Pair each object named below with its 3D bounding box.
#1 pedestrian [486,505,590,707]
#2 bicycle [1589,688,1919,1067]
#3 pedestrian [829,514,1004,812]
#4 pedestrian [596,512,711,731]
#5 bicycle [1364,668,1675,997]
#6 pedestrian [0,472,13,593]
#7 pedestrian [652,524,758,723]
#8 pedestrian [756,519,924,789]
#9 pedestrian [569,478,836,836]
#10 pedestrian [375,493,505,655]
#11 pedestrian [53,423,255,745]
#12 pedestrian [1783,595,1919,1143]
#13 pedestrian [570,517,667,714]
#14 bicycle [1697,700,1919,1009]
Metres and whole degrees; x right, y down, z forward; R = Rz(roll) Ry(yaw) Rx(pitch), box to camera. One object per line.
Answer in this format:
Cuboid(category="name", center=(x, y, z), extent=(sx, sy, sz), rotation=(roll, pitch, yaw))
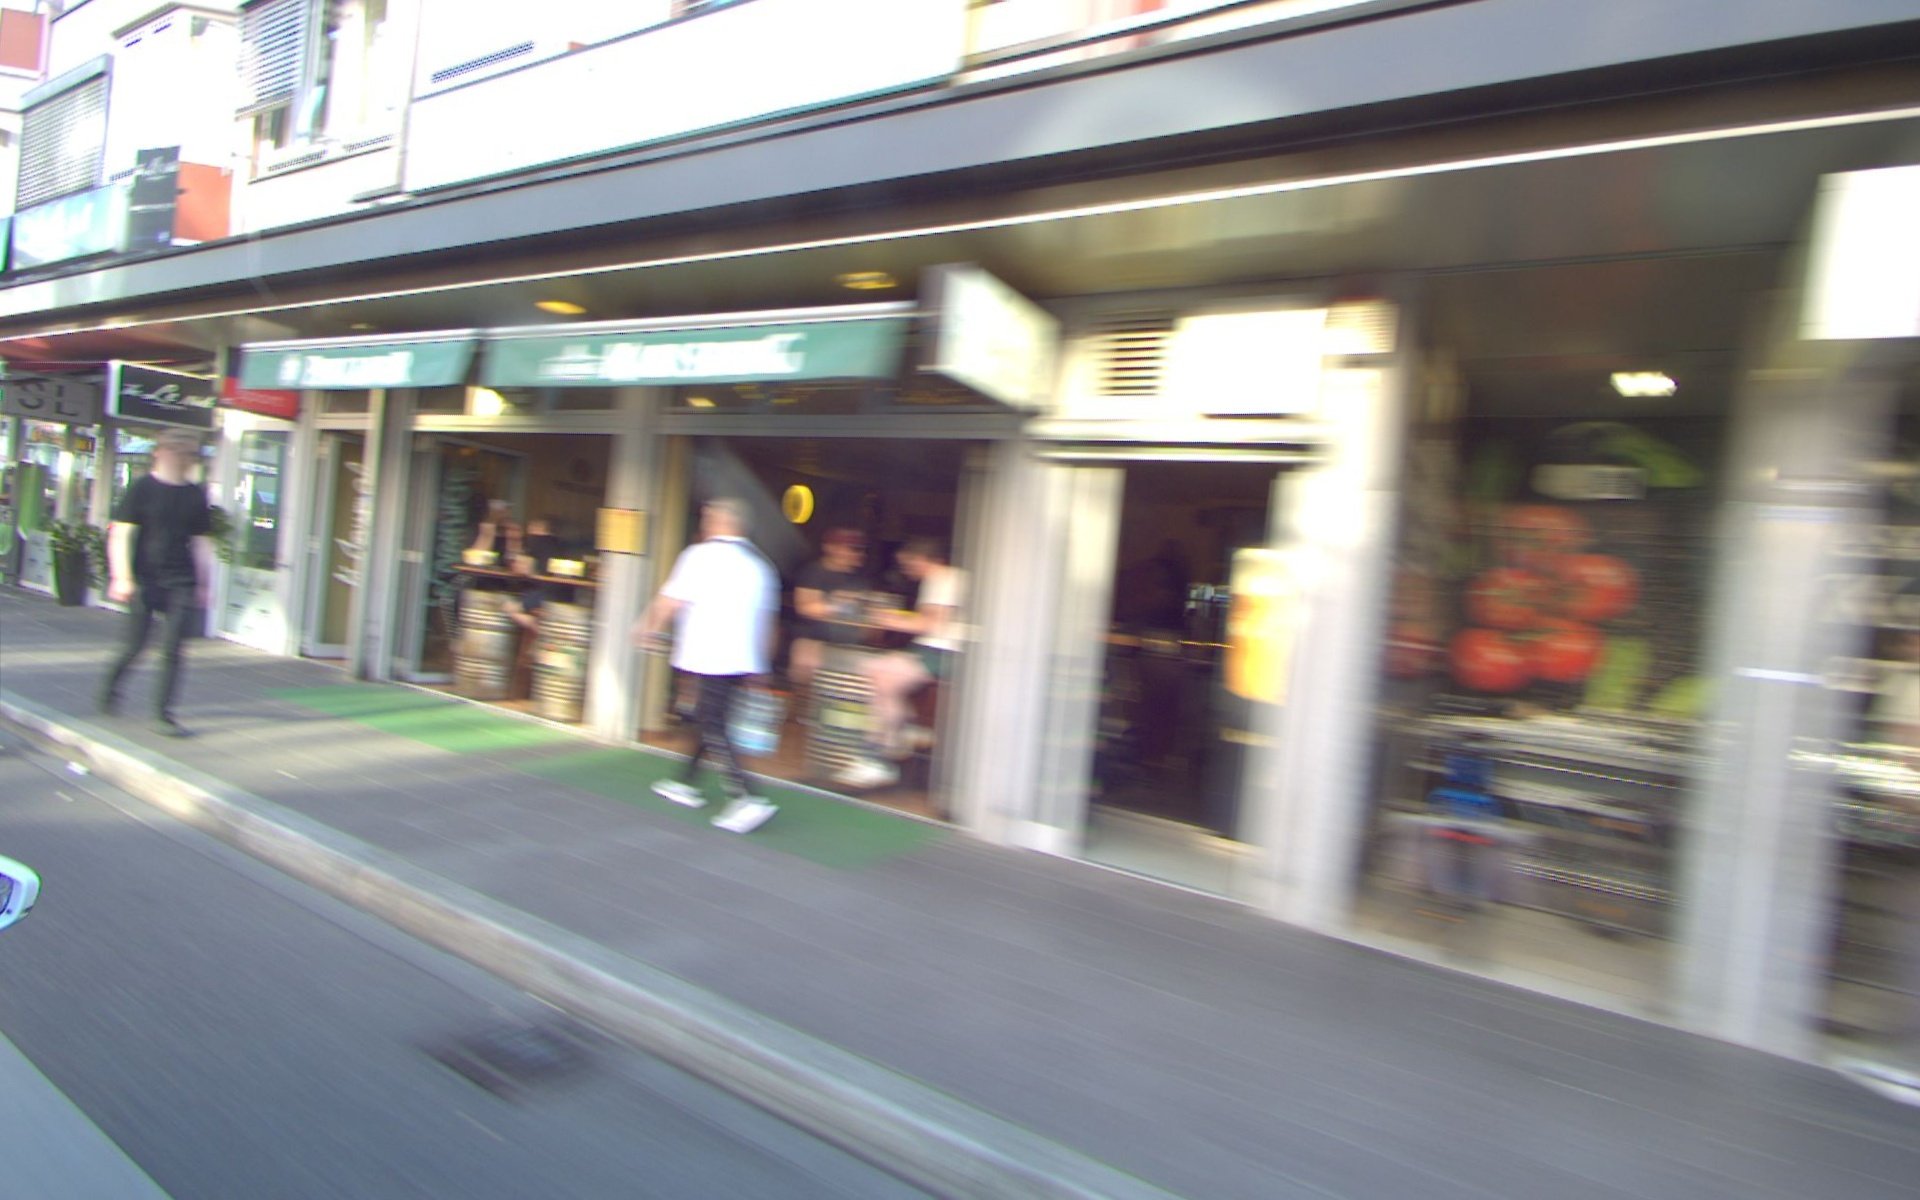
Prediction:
Cuboid(category="pedestrian", center=(-3.567, 0.051, 8.511), extent=(0.521, 1.624, 0.456), rotation=(7, 1, 32))
Cuboid(category="bicycle", center=(3.766, 1.122, 3.956), extent=(0.466, 1.267, 2.065), rotation=(6, 1, -34))
Cuboid(category="pedestrian", center=(-0.260, 0.356, 6.140), extent=(0.628, 1.658, 0.726), rotation=(7, 3, 33))
Cuboid(category="pedestrian", center=(-2.433, 0.168, 7.998), extent=(0.513, 1.653, 0.516), rotation=(7, 2, 37))
Cuboid(category="bicycle", center=(2.628, 1.032, 4.904), extent=(0.403, 1.252, 1.383), rotation=(6, 0, -11))
Cuboid(category="pedestrian", center=(-13.252, -0.942, 13.496), extent=(0.544, 1.611, 0.600), rotation=(7, 2, 31))
Cuboid(category="pedestrian", center=(-2.200, 0.204, 8.687), extent=(0.533, 1.627, 0.519), rotation=(7, 2, 37))
Cuboid(category="pedestrian", center=(-0.821, 0.345, 6.930), extent=(0.685, 1.697, 0.772), rotation=(7, 3, 33))
Cuboid(category="pedestrian", center=(-1.474, 0.276, 5.783), extent=(1.032, 1.800, 0.906), rotation=(7, 3, 32))
Cuboid(category="pedestrian", center=(-5.361, -0.259, 10.379), extent=(0.886, 1.538, 0.710), rotation=(7, 1, 31))
Cuboid(category="pedestrian", center=(-5.147, -0.122, 6.419), extent=(0.976, 1.886, 0.674), rotation=(7, 3, 33))
Cuboid(category="pedestrian", center=(3.509, 0.887, 3.453), extent=(0.580, 1.745, 0.788), rotation=(6, 4, 14))
Cuboid(category="pedestrian", center=(-2.936, 0.134, 8.648), extent=(0.457, 1.624, 0.456), rotation=(7, 2, 34))
Cuboid(category="bicycle", center=(4.698, 1.237, 4.493), extent=(0.571, 1.269, 2.097), rotation=(7, -1, -34))
